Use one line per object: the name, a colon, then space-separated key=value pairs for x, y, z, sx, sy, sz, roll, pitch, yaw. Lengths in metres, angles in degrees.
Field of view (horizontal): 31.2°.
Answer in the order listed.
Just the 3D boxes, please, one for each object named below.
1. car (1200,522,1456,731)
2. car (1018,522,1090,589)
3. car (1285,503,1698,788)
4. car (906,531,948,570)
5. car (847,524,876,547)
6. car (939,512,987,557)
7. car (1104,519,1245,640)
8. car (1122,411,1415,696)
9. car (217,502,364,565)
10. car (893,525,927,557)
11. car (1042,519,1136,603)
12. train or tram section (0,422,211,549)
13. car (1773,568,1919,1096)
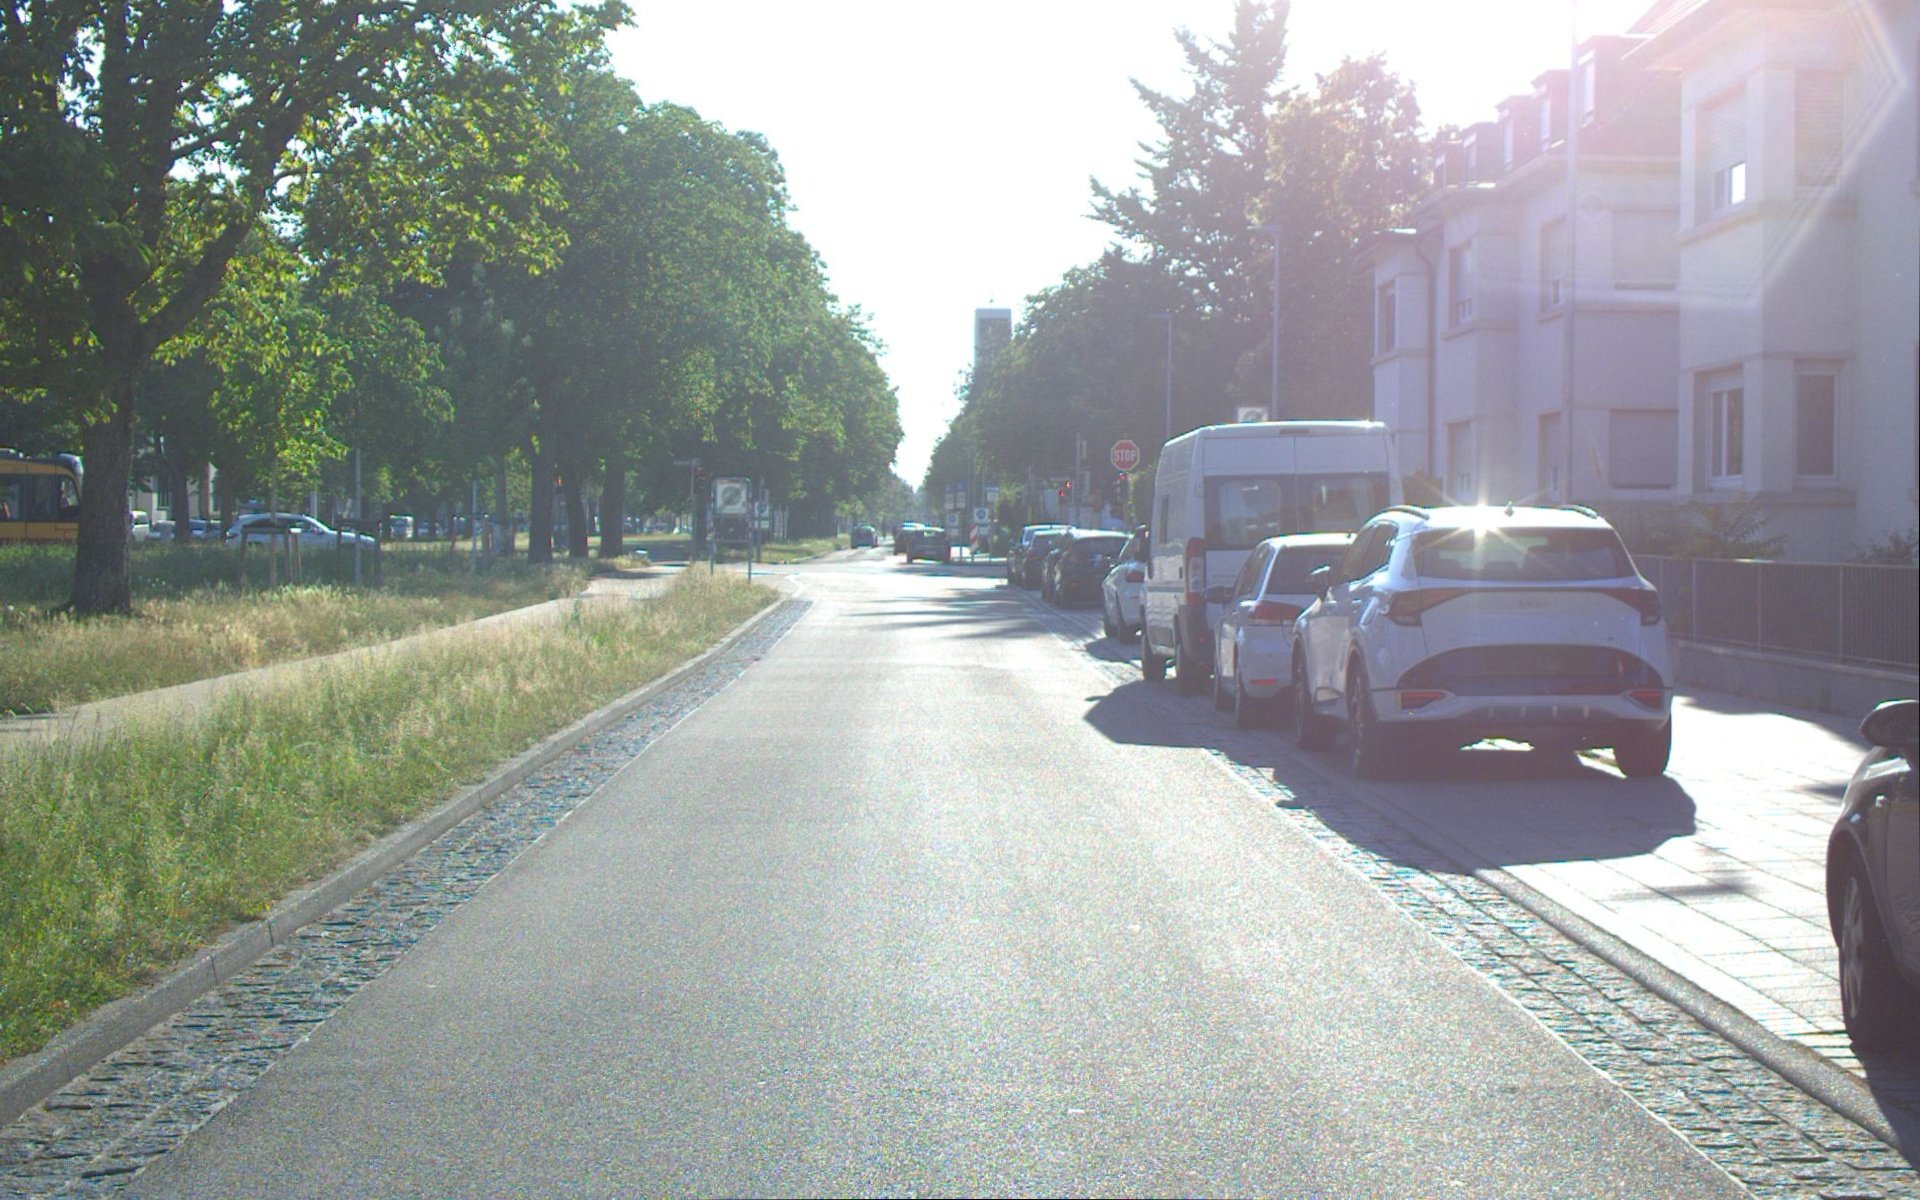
car: x=2.852 y=0.153 z=27.332 sx=1.650 sy=1.525 sz=3.851 roll=0 pitch=2 yaw=0
car: x=2.223 y=-1.079 z=81.976 sx=1.650 sy=1.525 sz=3.851 roll=0 pitch=2 yaw=0
car: x=3.255 y=0.206 z=21.840 sx=1.837 sy=1.630 sz=4.132 roll=0 pitch=2 yaw=-2
car: x=-1.320 y=-2.030 z=139.072 sx=1.650 sy=1.525 sz=3.851 roll=0 pitch=2 yaw=0
car: x=-6.634 y=-4.348 z=231.915 sx=1.811 sy=1.525 sz=3.851 roll=0 pitch=2 yaw=0
car: x=0.134 y=-2.306 z=120.800 sx=1.650 sy=1.525 sz=3.851 roll=0 pitch=2 yaw=0
car: x=2.814 y=-0.309 z=45.678 sx=1.650 sy=1.525 sz=3.851 roll=0 pitch=2 yaw=0
car: x=2.877 y=-0.485 z=33.239 sx=2.126 sy=2.524 sz=5.189 roll=0 pitch=1 yaw=-3
car: x=-20.648 y=-2.053 z=106.136 sx=4.345 sy=1.758 sz=2.001 roll=2 pitch=1 yaw=-9
car: x=-2.509 y=-2.975 z=173.044 sx=1.650 sy=1.525 sz=3.851 roll=0 pitch=2 yaw=0
car: x=2.419 y=-0.770 z=65.129 sx=1.650 sy=1.525 sz=3.851 roll=0 pitch=2 yaw=0
train or tram section: x=-34.948 y=-3.986 z=113.300 sx=19.778 sy=3.942 sz=3.645 roll=2 pitch=1 yaw=-9
car: x=3.387 y=0.616 z=8.726 sx=1.621 sy=1.406 sz=3.969 roll=-3 pitch=1 yaw=0
